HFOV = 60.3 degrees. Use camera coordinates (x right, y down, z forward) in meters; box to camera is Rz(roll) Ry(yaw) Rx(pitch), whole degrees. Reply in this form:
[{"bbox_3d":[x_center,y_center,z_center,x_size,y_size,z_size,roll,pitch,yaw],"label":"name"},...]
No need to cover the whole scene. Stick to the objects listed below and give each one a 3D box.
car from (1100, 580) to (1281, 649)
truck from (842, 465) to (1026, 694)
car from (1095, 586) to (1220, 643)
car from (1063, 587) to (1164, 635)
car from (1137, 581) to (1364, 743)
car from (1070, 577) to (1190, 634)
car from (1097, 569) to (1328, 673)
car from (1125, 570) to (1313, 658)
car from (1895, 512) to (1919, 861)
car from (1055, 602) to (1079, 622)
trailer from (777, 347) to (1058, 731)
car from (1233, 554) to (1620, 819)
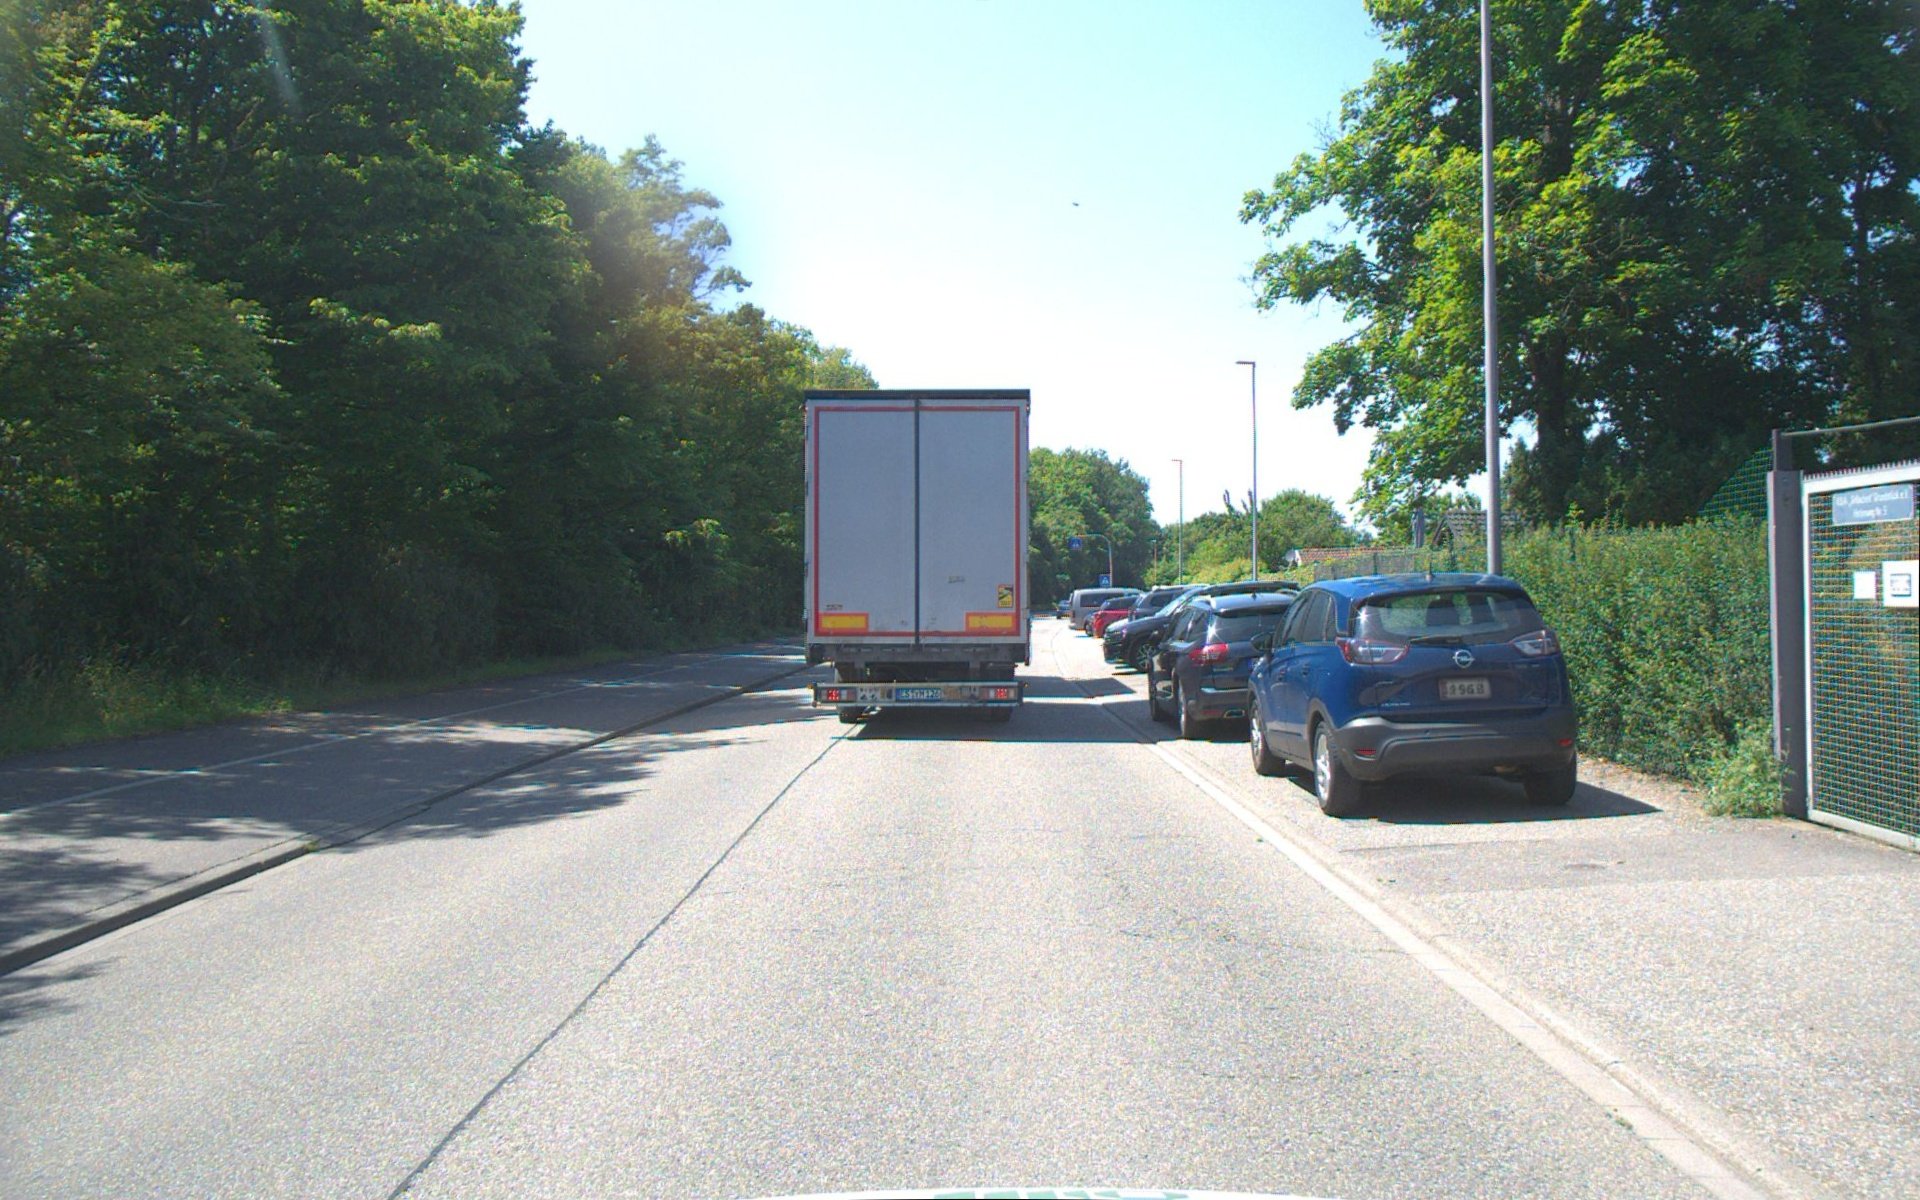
[{"bbox_3d":[6.122,0.373,44.291,4.466,1.464,1.961,-5,0,-1],"label":"car"},{"bbox_3d":[-0.429,-0.360,30.663,3.050,3.790,6.413,0,0,0],"label":"truck"},{"bbox_3d":[6.377,0.454,53.761,3.838,1.504,1.846,-4,0,3],"label":"car"},{"bbox_3d":[5.768,0.410,62.287,3.504,1.528,1.841,-4,0,-2],"label":"car"},{"bbox_3d":[3.198,0.618,19.147,1.753,1.507,4.665,-4,0,1],"label":"car"},{"bbox_3d":[6.691,0.212,65.484,4.525,1.880,1.997,-4,0,4],"label":"car"},{"bbox_3d":[5.148,0.417,34.150,4.379,1.733,1.914,-4,0,0],"label":"car"},{"bbox_3d":[6.099,0.315,39.392,4.169,1.727,1.854,-4,0,4],"label":"car"},{"bbox_3d":[3.563,0.542,2.462,1.753,1.687,4.453,-4,0,1],"label":"car"},{"bbox_3d":[8.309,0.932,128.314,1.743,1.512,4.002,0,0,5],"label":"car"},{"bbox_3d":[-0.456,-0.664,23.746,3.049,4.174,11.536,0,0,0],"label":"trailer"},{"bbox_3d":[3.317,0.526,12.612,1.753,1.631,4.130,-2,1,0],"label":"car"}]
